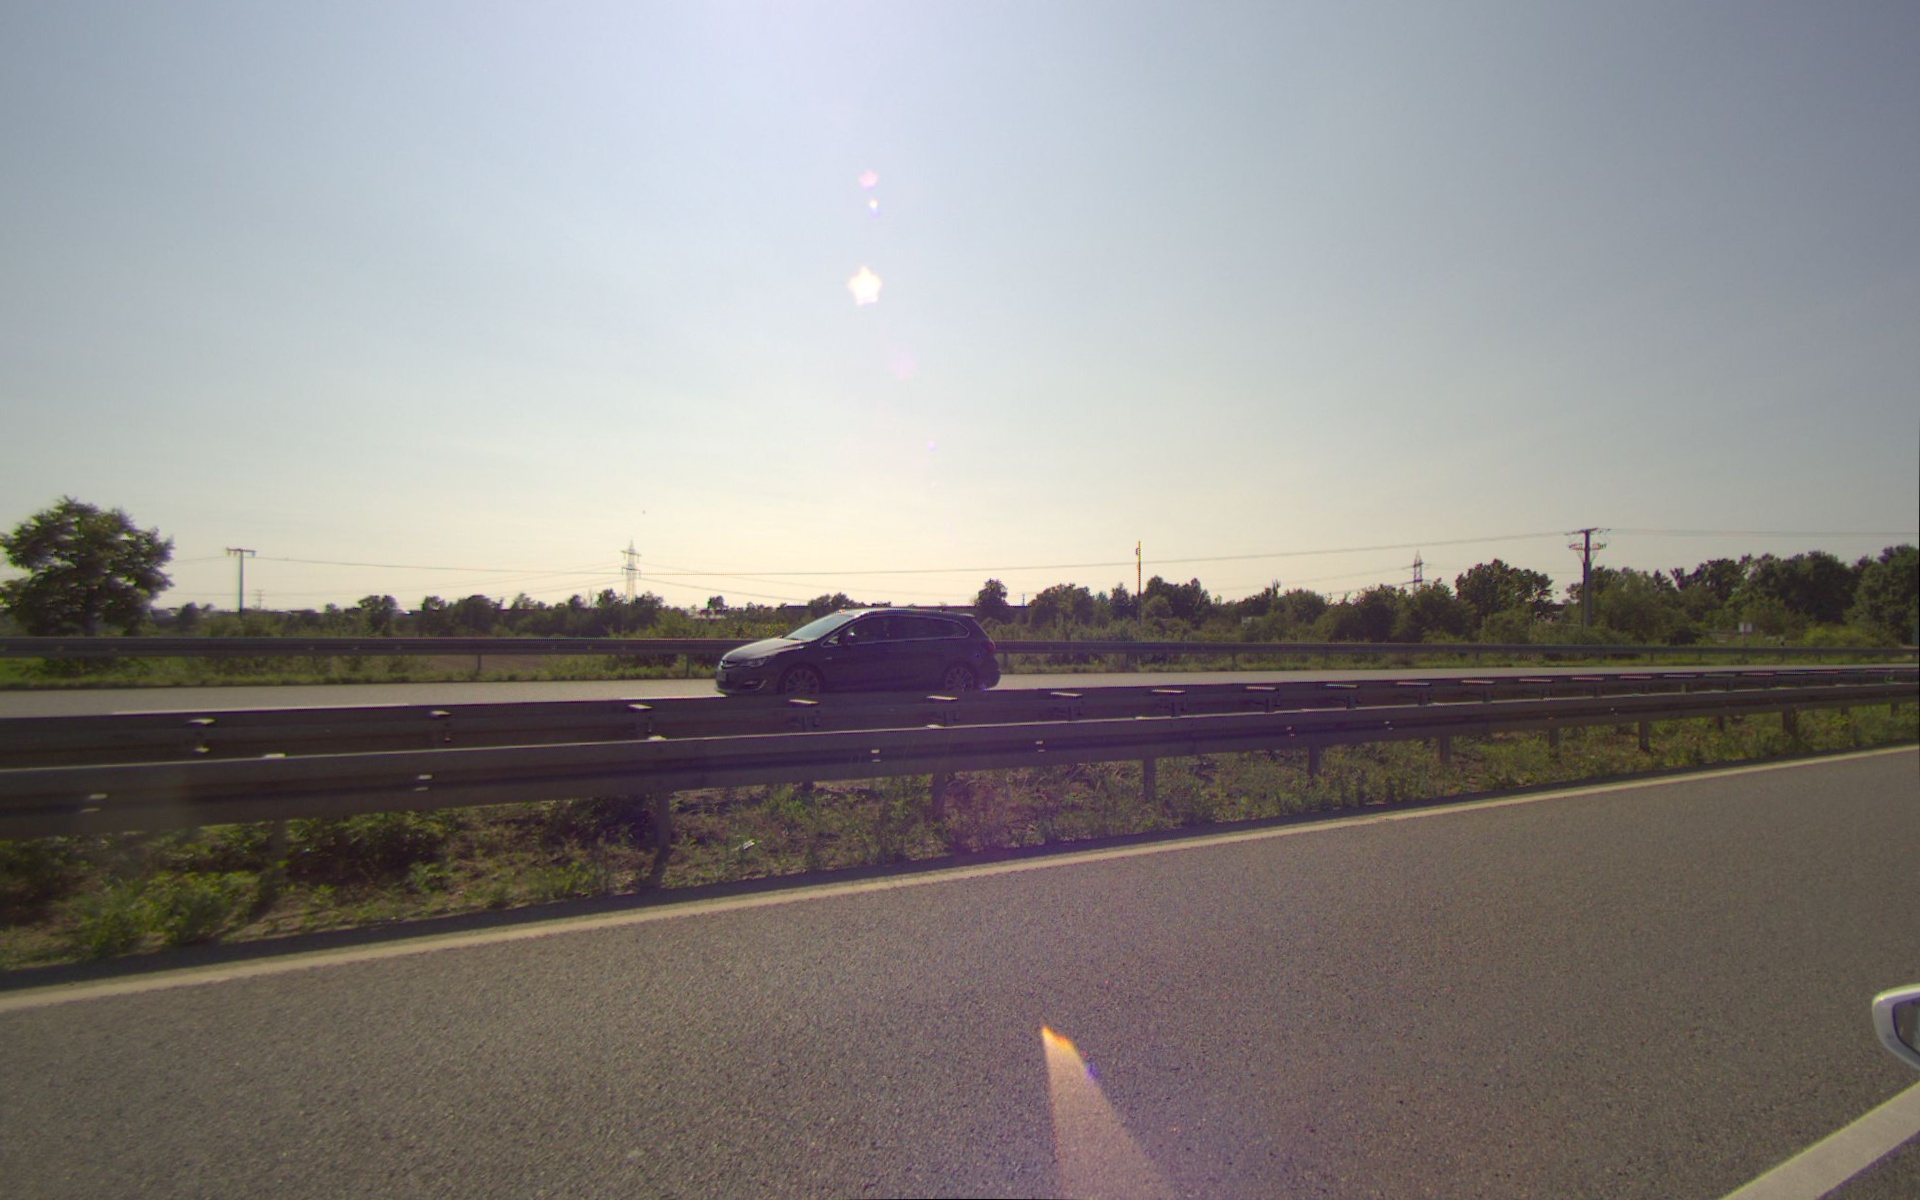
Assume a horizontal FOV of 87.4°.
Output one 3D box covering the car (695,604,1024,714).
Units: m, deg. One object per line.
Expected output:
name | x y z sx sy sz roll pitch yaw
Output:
car | -1.517 0.870 15.974 4.879 1.454 1.858 1 1 -31
